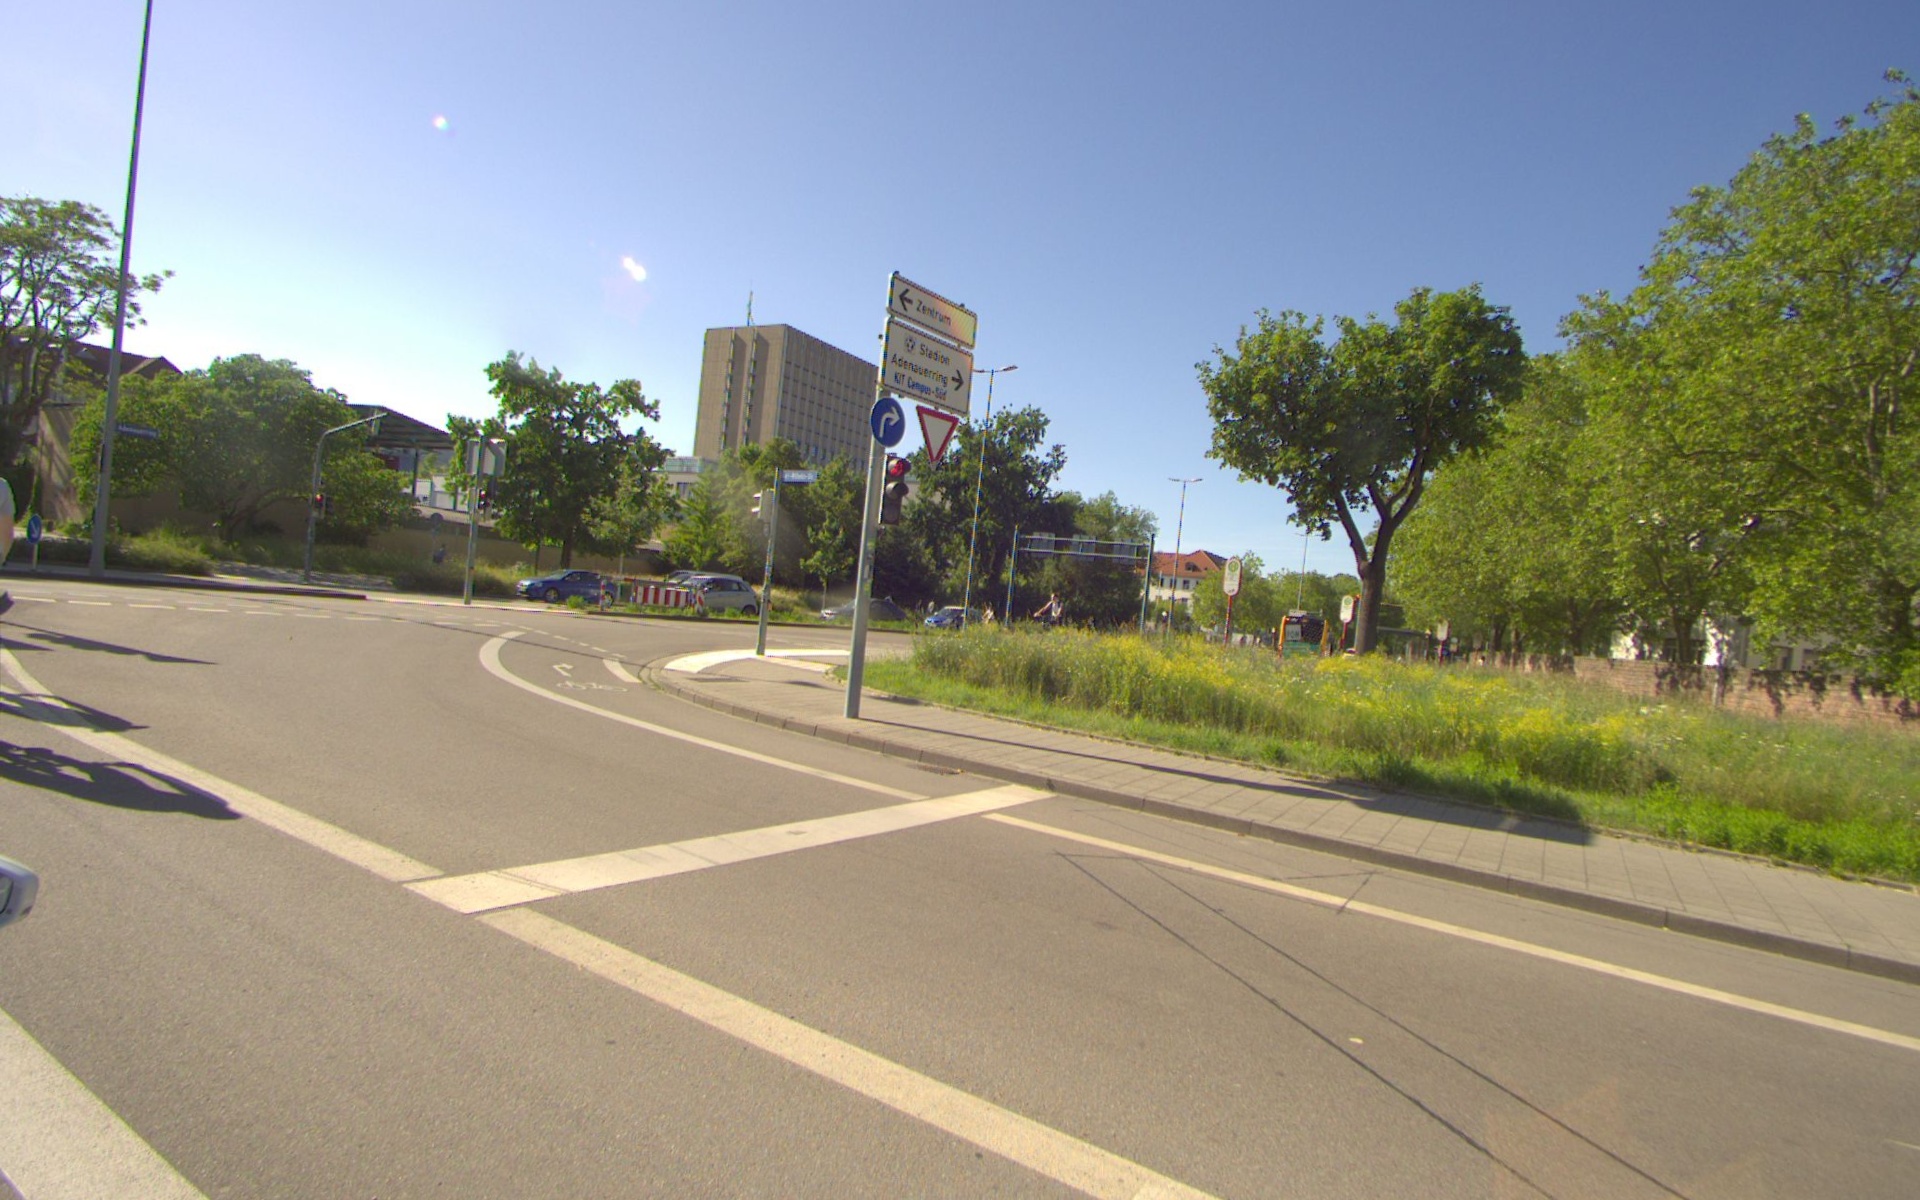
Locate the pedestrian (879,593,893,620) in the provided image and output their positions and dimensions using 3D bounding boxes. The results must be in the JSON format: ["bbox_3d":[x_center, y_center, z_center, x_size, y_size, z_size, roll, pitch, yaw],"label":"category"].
[{"bbox_3d":[-5.206,0.441,70.693,0.519,1.800,0.561,7,1,36],"label":"pedestrian"}]

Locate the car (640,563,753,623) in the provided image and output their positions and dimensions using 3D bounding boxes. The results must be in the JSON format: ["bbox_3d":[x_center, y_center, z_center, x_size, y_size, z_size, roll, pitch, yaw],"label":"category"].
[{"bbox_3d":[-12.313,-0.272,47.341,1.968,2.131,4.885,6,-2,34],"label":"car"}]

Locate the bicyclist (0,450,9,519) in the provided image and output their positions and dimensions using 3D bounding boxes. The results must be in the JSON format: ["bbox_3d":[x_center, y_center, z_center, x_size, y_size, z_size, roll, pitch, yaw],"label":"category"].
[{"bbox_3d":[-8.141,-0.370,7.791,1.048,1.759,0.647,7,-1,26],"label":"bicyclist"}]

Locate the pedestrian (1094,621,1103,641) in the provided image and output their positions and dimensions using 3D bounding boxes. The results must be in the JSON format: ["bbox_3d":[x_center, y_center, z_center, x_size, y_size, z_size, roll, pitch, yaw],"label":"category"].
[{"bbox_3d":[13.259,2.970,96.373,0.519,1.801,0.561,7,1,35],"label":"pedestrian"}]

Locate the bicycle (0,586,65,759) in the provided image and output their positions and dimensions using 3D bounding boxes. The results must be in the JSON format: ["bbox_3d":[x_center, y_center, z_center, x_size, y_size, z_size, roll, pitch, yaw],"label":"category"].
[{"bbox_3d":[-6.297,0.346,6.101,1.946,0.906,0.741,6,-2,33],"label":"bicycle"}]

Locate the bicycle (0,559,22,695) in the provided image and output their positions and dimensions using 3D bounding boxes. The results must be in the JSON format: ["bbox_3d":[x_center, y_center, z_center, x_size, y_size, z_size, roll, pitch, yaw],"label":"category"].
[{"bbox_3d":[-8.206,0.091,7.785,1.935,1.014,0.661,6,-1,26],"label":"bicycle"}]

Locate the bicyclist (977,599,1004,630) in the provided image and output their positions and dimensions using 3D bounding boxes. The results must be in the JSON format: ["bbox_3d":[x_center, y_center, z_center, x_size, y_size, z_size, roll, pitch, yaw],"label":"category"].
[{"bbox_3d":[1.746,0.838,58.086,0.778,1.649,1.315,7,1,37],"label":"bicyclist"}]

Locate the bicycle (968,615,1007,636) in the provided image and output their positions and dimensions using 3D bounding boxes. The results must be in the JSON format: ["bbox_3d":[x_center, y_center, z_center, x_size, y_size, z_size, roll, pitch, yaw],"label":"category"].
[{"bbox_3d":[1.617,1.480,58.086,0.778,1.032,2.630,7,0,36],"label":"bicycle"}]

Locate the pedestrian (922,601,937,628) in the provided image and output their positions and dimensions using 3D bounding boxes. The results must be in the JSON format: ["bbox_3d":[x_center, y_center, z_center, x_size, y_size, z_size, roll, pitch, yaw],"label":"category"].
[{"bbox_3d":[-2.163,1.060,72.333,0.702,1.872,0.561,7,1,35],"label":"pedestrian"}]

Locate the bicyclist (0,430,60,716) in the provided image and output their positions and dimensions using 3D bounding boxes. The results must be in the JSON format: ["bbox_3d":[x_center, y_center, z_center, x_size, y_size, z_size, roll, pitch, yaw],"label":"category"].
[{"bbox_3d":[-6.223,-0.215,6.102,1.000,1.688,0.752,6,-1,33],"label":"bicyclist"}]

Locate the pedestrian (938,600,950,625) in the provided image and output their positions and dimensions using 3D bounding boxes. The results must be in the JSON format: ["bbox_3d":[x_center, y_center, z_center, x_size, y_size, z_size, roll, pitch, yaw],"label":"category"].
[{"bbox_3d":[-1.183,0.966,75.979,0.519,1.801,0.561,7,1,35],"label":"pedestrian"}]

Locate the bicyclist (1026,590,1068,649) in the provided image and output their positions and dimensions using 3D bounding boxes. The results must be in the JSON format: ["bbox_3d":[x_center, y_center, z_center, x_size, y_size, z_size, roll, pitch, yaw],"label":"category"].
[{"bbox_3d":[2.190,0.500,25.223,0.509,1.368,1.002,7,1,32],"label":"bicyclist"}]

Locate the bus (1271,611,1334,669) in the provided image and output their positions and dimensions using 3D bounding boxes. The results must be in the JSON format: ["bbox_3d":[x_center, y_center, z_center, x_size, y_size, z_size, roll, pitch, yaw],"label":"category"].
[{"bbox_3d":[20.760,2.526,60.587,2.745,2.662,10.118,7,-2,23],"label":"bus"}]

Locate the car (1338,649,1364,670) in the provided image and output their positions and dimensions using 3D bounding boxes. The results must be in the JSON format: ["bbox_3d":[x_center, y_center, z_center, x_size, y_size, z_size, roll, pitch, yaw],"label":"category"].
[{"bbox_3d":[33.790,5.126,86.919,1.669,1.525,3.771,6,0,25],"label":"car"}]

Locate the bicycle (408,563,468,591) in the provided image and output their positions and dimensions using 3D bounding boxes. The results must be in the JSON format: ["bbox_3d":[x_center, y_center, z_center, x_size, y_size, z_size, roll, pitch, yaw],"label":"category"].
[{"bbox_3d":[-22.120,-0.969,42.672,0.685,0.942,2.080,9,2,36],"label":"bicycle"}]

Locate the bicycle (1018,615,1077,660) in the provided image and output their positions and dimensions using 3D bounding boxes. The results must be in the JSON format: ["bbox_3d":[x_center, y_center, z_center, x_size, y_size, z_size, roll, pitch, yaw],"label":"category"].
[{"bbox_3d":[2.229,0.967,25.361,0.509,1.007,2.056,7,0,32],"label":"bicycle"}]

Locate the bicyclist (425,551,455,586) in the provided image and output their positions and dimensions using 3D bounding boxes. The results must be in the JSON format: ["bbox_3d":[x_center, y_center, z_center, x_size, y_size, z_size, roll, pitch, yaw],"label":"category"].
[{"bbox_3d":[-22.054,-1.338,42.676,0.685,1.333,0.825,9,3,37],"label":"bicyclist"}]

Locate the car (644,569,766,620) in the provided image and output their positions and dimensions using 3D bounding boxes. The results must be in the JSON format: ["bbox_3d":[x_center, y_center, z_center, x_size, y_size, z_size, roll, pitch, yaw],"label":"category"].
[{"bbox_3d":[-9.437,-0.169,37.441,1.840,1.426,4.046,6,0,38],"label":"car"}]

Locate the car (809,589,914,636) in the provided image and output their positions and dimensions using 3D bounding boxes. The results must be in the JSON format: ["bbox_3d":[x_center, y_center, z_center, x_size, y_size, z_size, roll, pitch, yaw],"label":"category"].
[{"bbox_3d":[-4.310,0.581,44.720,1.968,1.604,4.735,6,0,34],"label":"car"}]

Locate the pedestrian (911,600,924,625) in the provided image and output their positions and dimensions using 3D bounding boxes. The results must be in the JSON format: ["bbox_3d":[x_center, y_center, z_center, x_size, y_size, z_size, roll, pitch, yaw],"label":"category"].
[{"bbox_3d":[-3.085,0.908,73.313,0.519,1.801,0.561,7,1,35],"label":"pedestrian"}]

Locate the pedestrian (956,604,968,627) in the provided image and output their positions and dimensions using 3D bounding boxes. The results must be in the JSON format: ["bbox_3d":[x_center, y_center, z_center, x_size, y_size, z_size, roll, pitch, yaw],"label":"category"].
[{"bbox_3d":[0.171,1.182,78.429,0.519,1.716,0.561,7,1,35],"label":"pedestrian"}]

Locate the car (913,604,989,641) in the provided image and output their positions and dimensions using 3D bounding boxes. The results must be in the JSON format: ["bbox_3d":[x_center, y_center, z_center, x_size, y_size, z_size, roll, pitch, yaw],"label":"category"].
[{"bbox_3d":[-0.391,1.157,50.383,1.758,1.448,3.989,6,0,34],"label":"car"}]

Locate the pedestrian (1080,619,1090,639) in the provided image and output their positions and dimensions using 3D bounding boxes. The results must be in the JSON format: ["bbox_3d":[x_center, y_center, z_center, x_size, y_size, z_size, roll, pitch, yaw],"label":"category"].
[{"bbox_3d":[11.819,2.738,95.330,0.519,1.801,0.561,7,1,36],"label":"pedestrian"}]

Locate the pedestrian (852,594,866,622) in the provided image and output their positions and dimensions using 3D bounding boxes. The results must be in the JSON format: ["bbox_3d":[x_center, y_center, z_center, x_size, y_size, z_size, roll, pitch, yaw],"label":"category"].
[{"bbox_3d":[-6.779,0.513,67.559,0.519,1.801,0.561,7,1,35],"label":"pedestrian"}]

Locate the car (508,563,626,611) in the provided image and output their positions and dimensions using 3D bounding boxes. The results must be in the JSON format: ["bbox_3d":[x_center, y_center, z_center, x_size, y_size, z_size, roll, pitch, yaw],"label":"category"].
[{"bbox_3d":[-16.094,-0.513,41.351,1.717,1.453,4.162,7,0,38],"label":"car"}]
